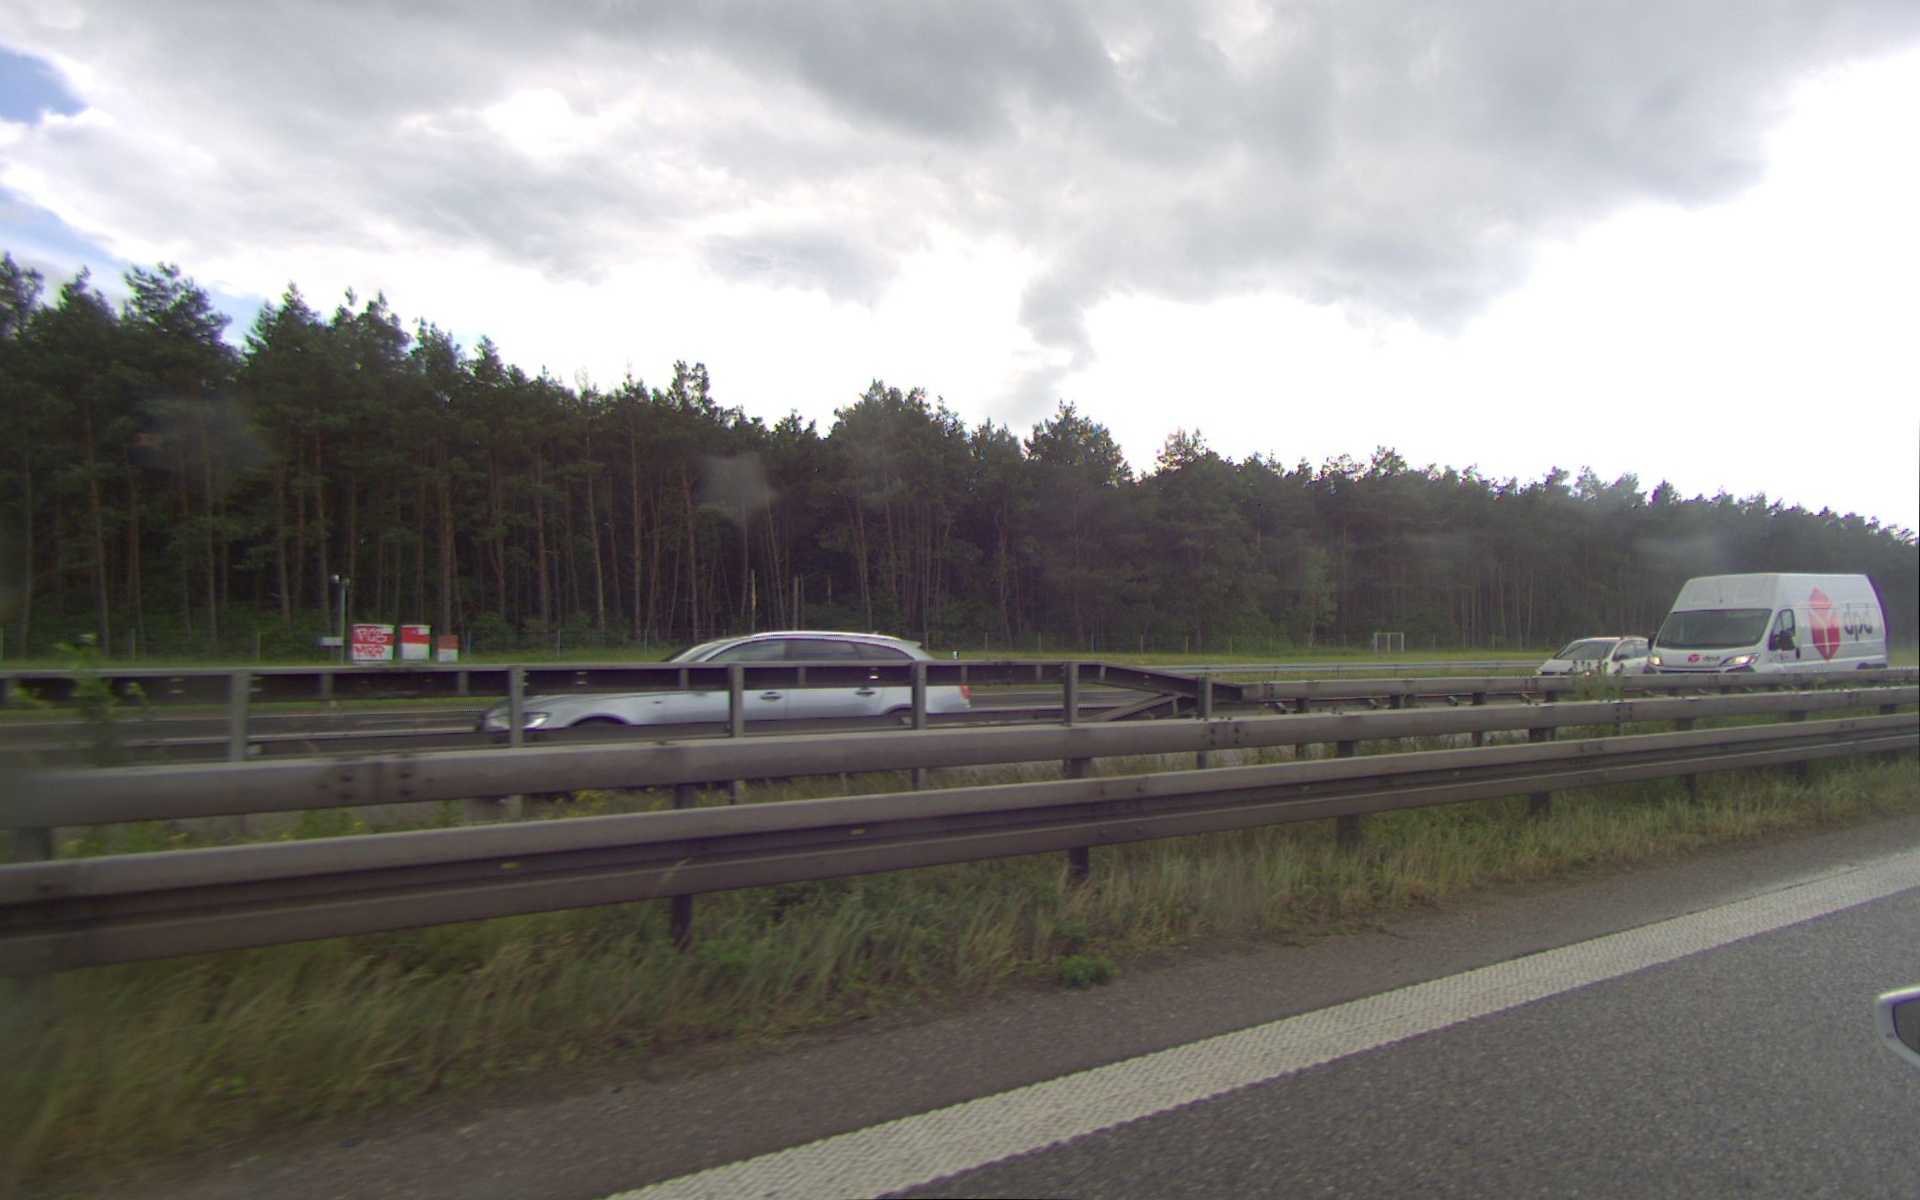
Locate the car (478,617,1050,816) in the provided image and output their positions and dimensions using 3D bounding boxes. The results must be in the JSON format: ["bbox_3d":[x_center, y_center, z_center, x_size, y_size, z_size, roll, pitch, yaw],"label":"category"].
[{"bbox_3d":[-1.793,0.979,9.944,5.257,1.550,1.859,1,-2,-30],"label":"car"}]

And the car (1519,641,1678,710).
[{"bbox_3d":[16.307,1.874,25.633,3.904,1.600,1.746,1,-1,-28],"label":"car"}]

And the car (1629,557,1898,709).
[{"bbox_3d":[16.498,0.678,20.501,6.596,2.697,2.122,1,-1,-31],"label":"car"}]
